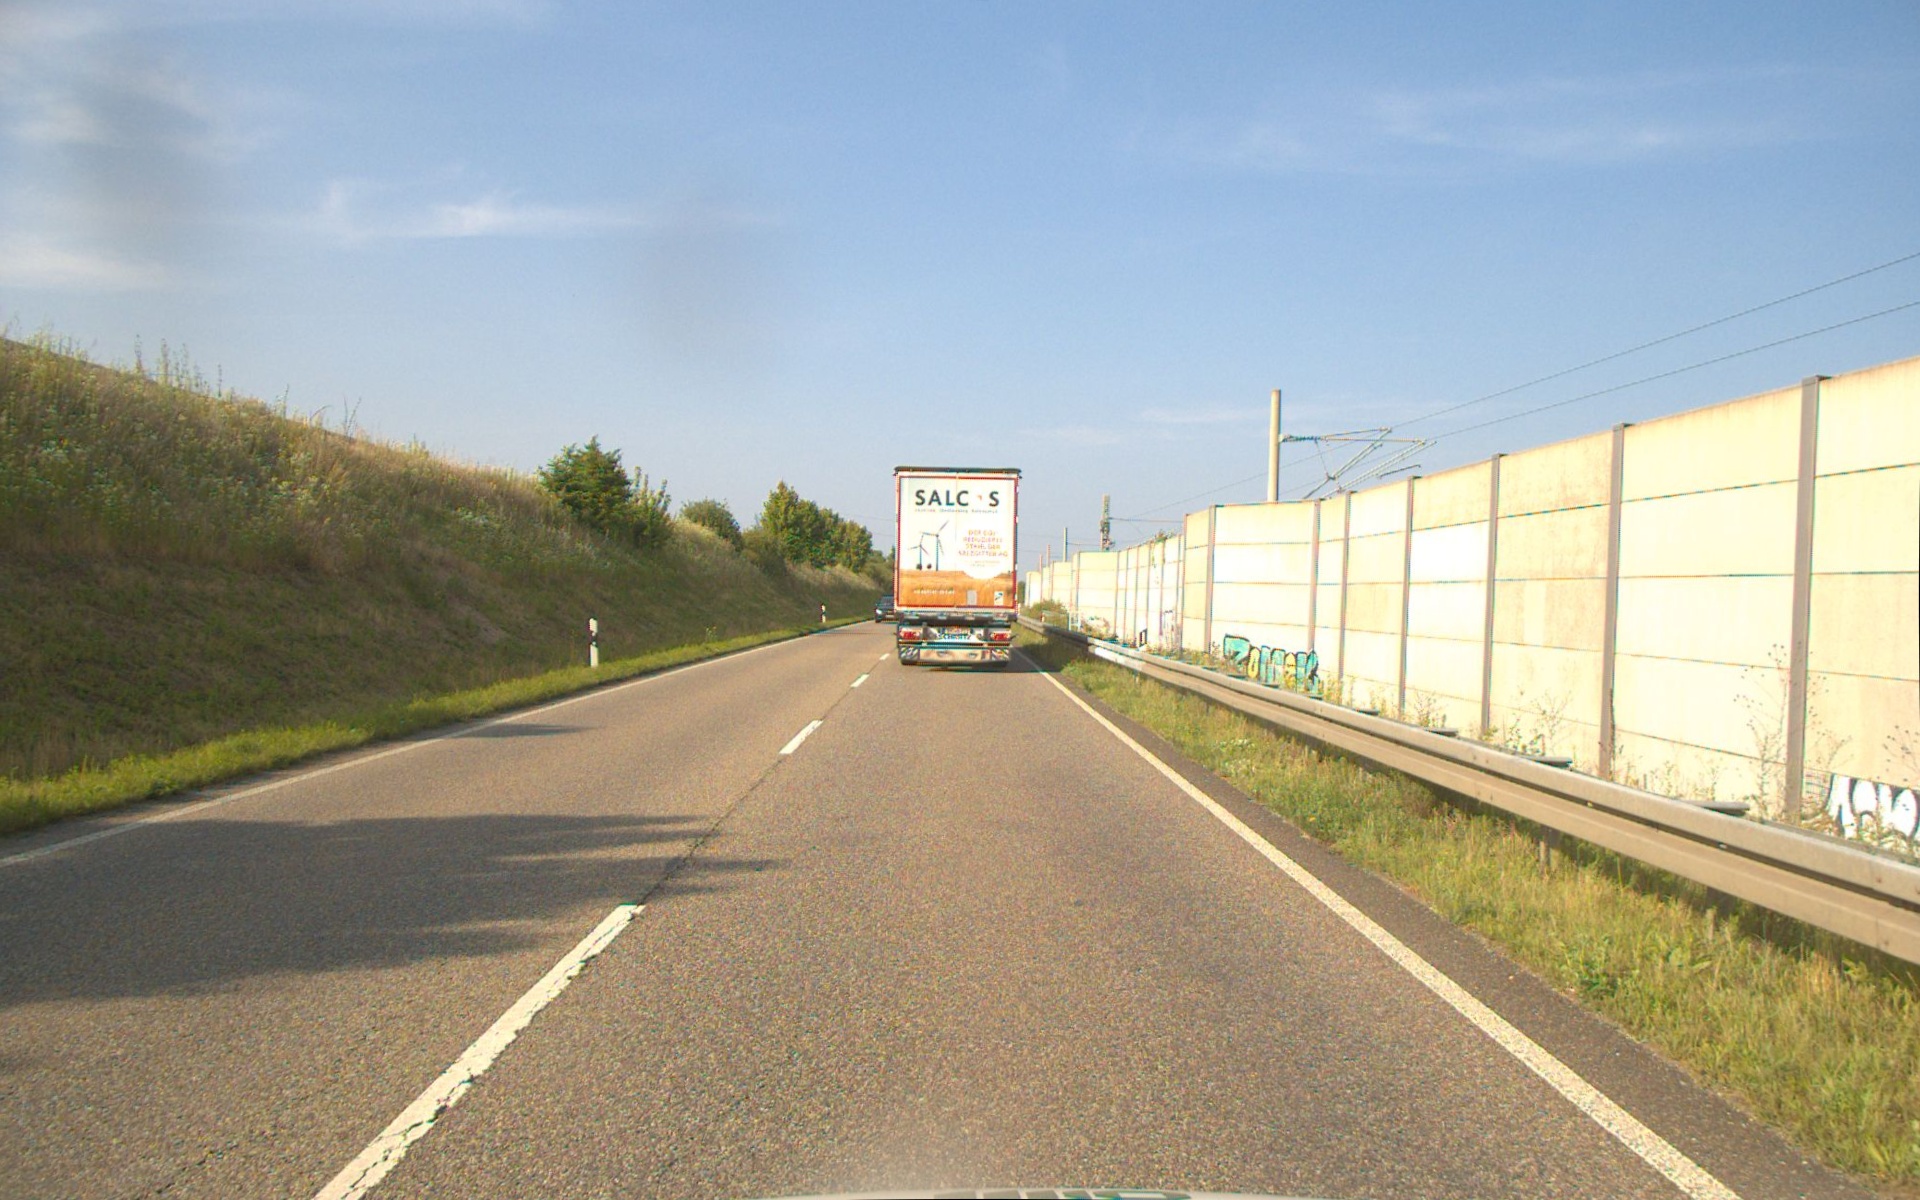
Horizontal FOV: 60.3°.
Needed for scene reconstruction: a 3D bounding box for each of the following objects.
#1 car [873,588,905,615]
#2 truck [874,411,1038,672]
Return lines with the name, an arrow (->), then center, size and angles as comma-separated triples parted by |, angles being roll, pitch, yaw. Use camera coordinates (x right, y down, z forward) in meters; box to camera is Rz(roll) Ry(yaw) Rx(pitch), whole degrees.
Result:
car -> -4.038, 0.071, 94.695 | 1.681, 1.479, 4.018 | 1, 0, -1
truck -> -0.075, -1.195, 39.190 | 3.223, 5.179, 12.037 | 1, 0, 0
